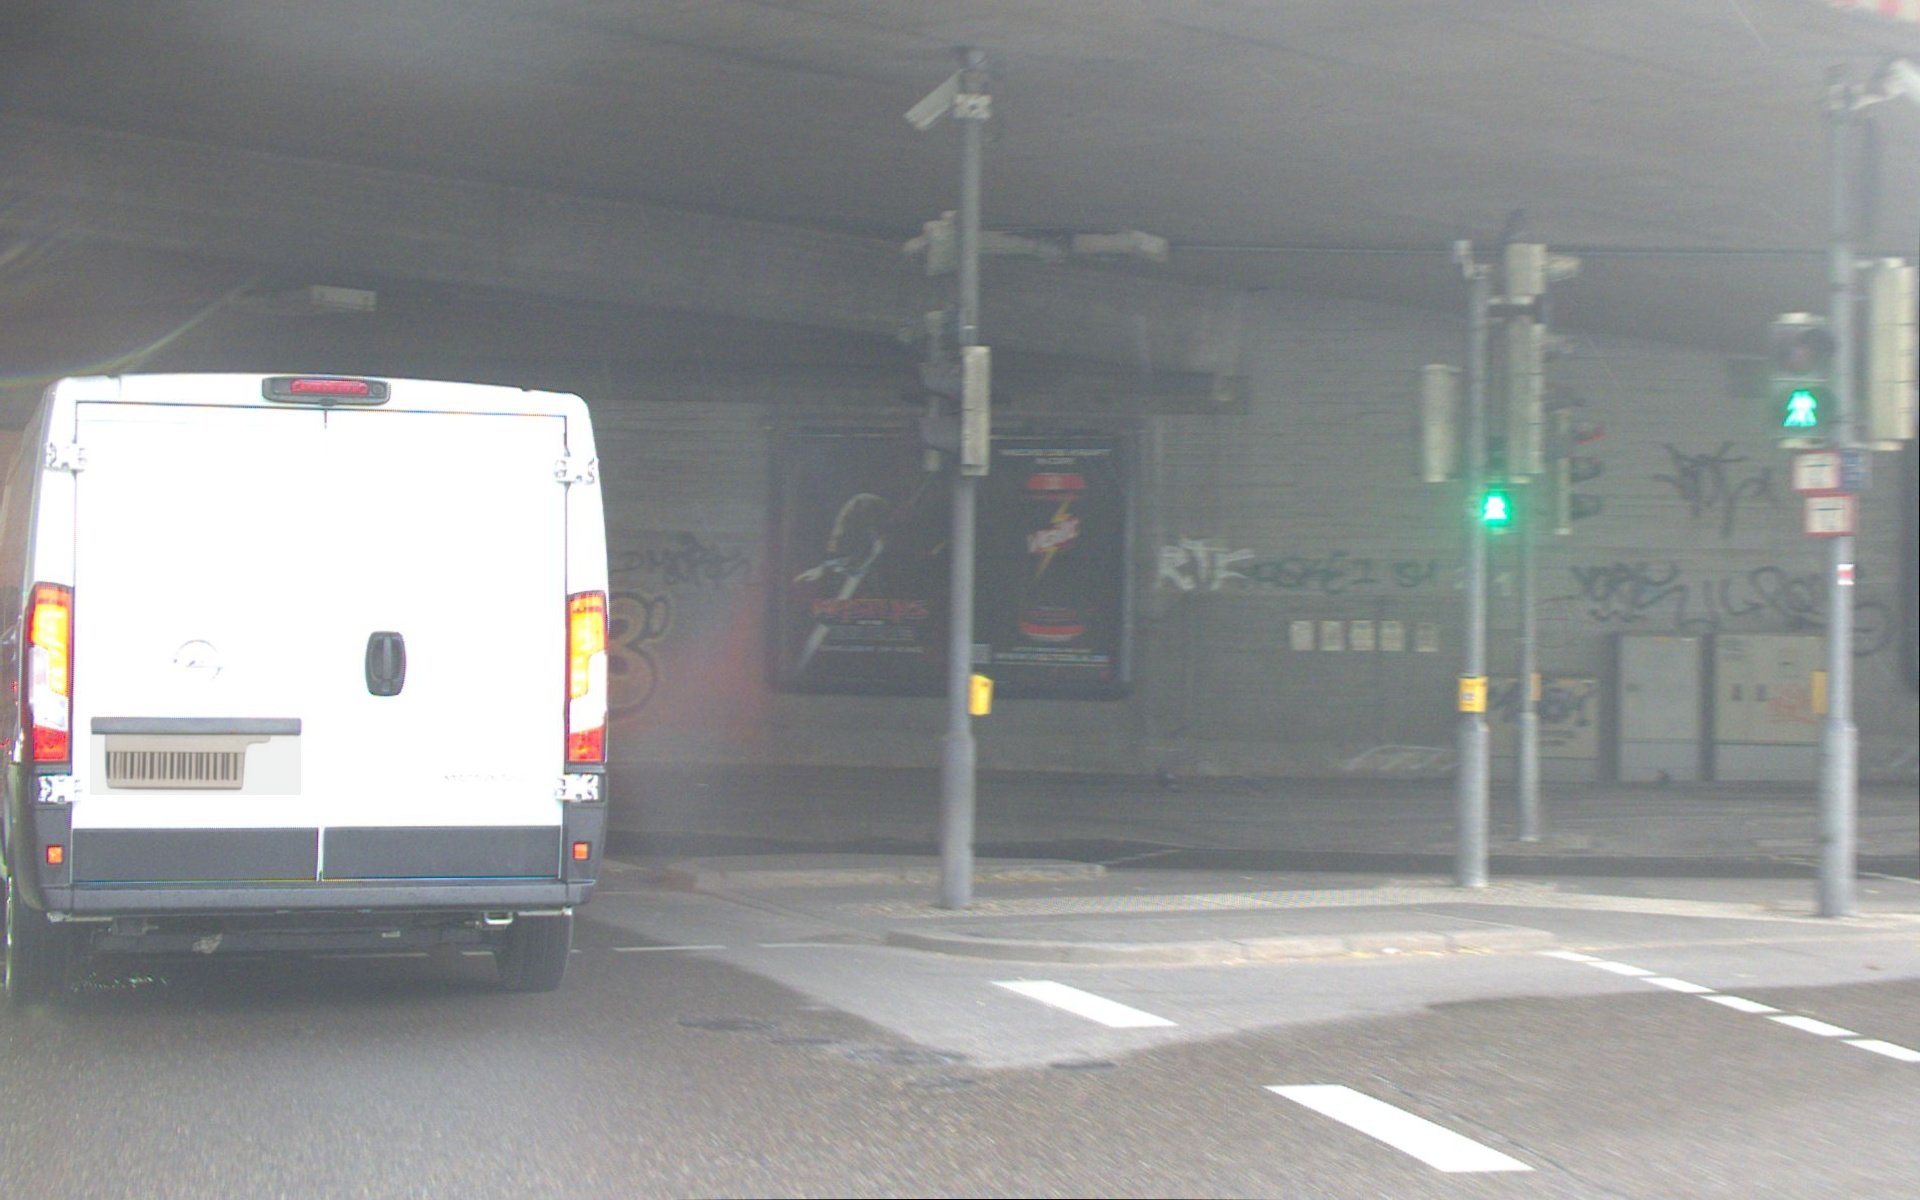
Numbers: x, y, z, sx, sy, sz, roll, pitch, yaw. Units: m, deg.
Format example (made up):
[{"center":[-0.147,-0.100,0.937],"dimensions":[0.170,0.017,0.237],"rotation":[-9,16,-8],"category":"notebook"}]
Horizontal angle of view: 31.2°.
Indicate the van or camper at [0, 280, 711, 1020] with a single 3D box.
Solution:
[{"center":[-2.888,0.186,13.828],"dimensions":[2.697,2.408,4.904],"rotation":[1,0,-17],"category":"van or camper"}]
